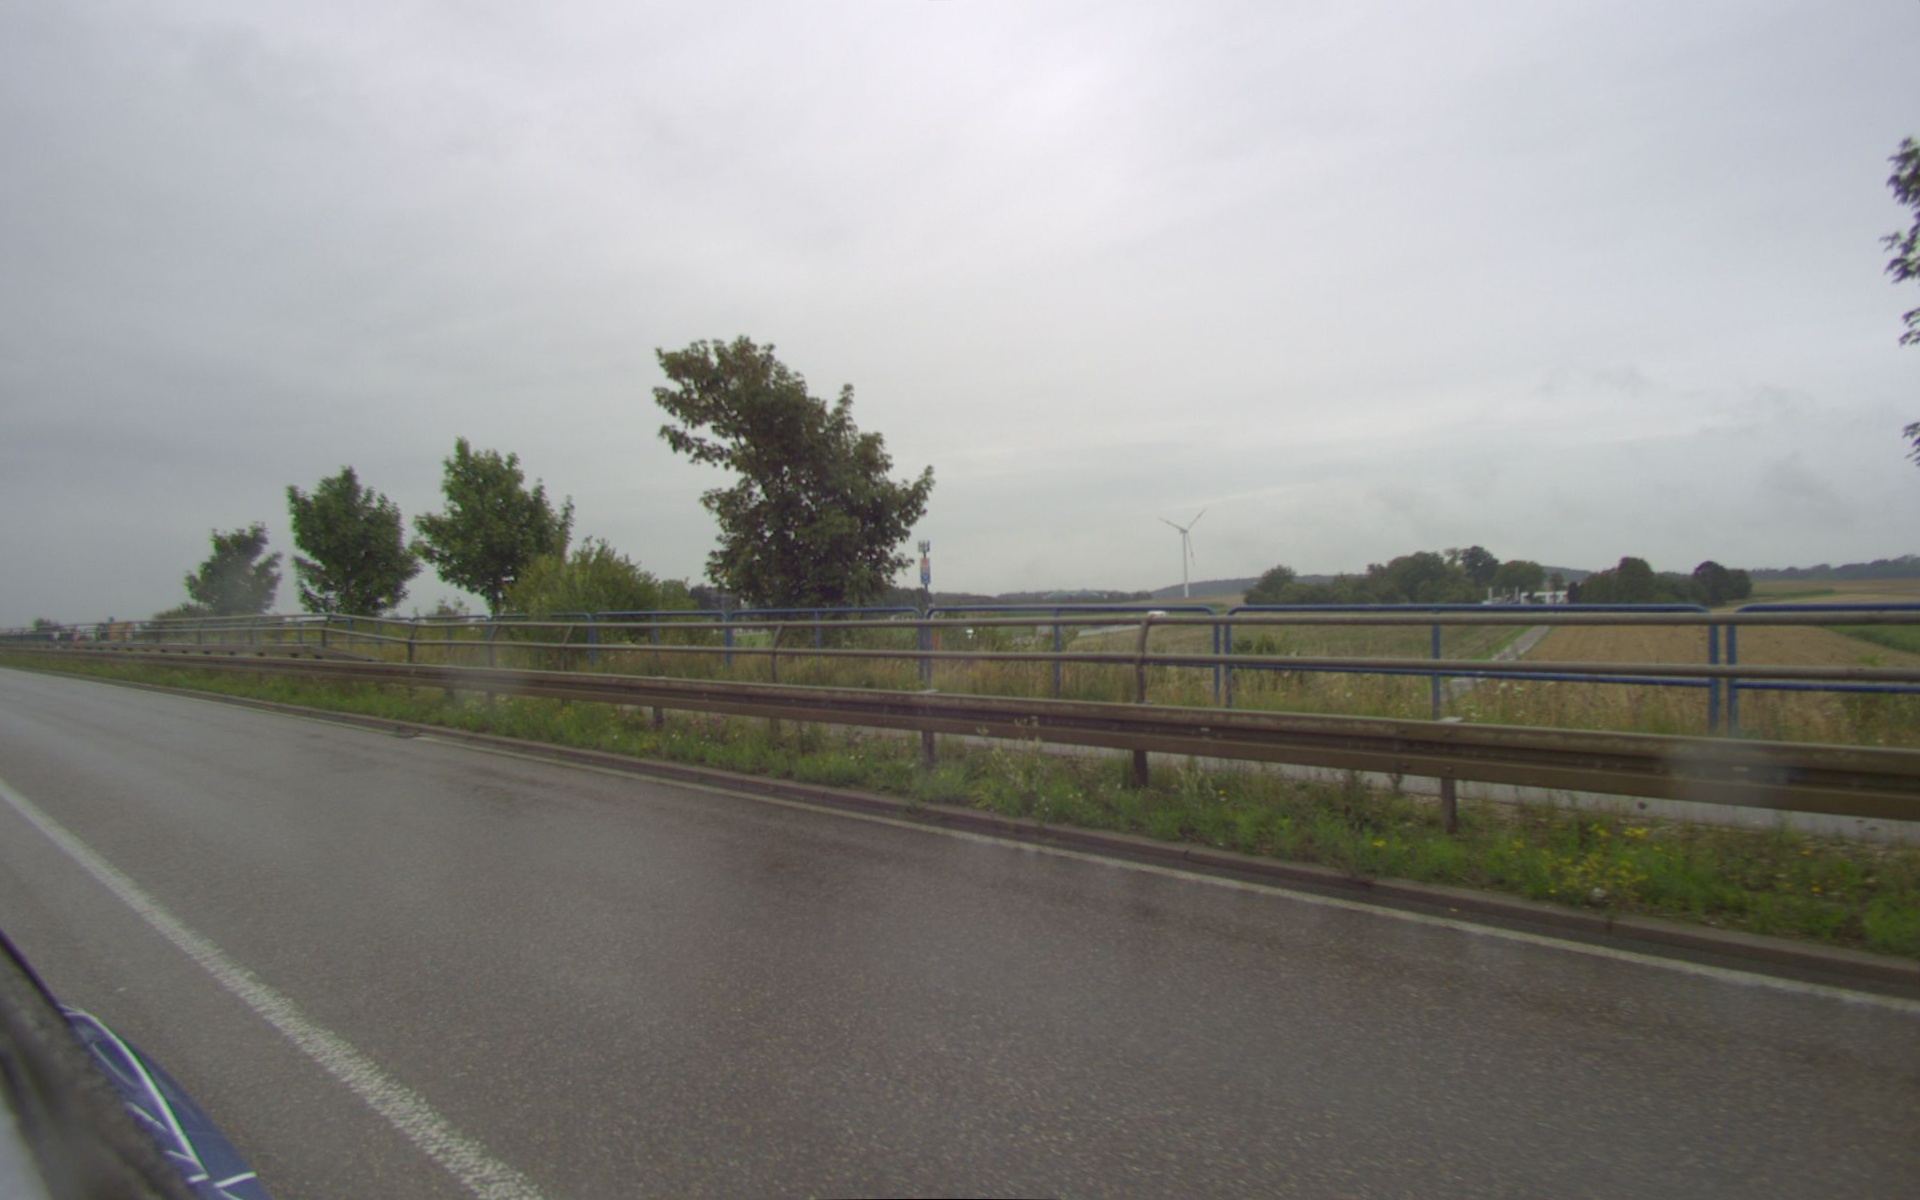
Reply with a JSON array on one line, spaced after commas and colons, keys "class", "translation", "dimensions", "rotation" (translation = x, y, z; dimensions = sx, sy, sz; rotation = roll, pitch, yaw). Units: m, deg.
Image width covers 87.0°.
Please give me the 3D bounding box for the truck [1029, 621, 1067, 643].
[{"class": "truck", "translation": [18.270, 6.596, 209.021], "dimensions": [3.339, 3.975, 11.413], "rotation": [-2, 0, 29]}]
